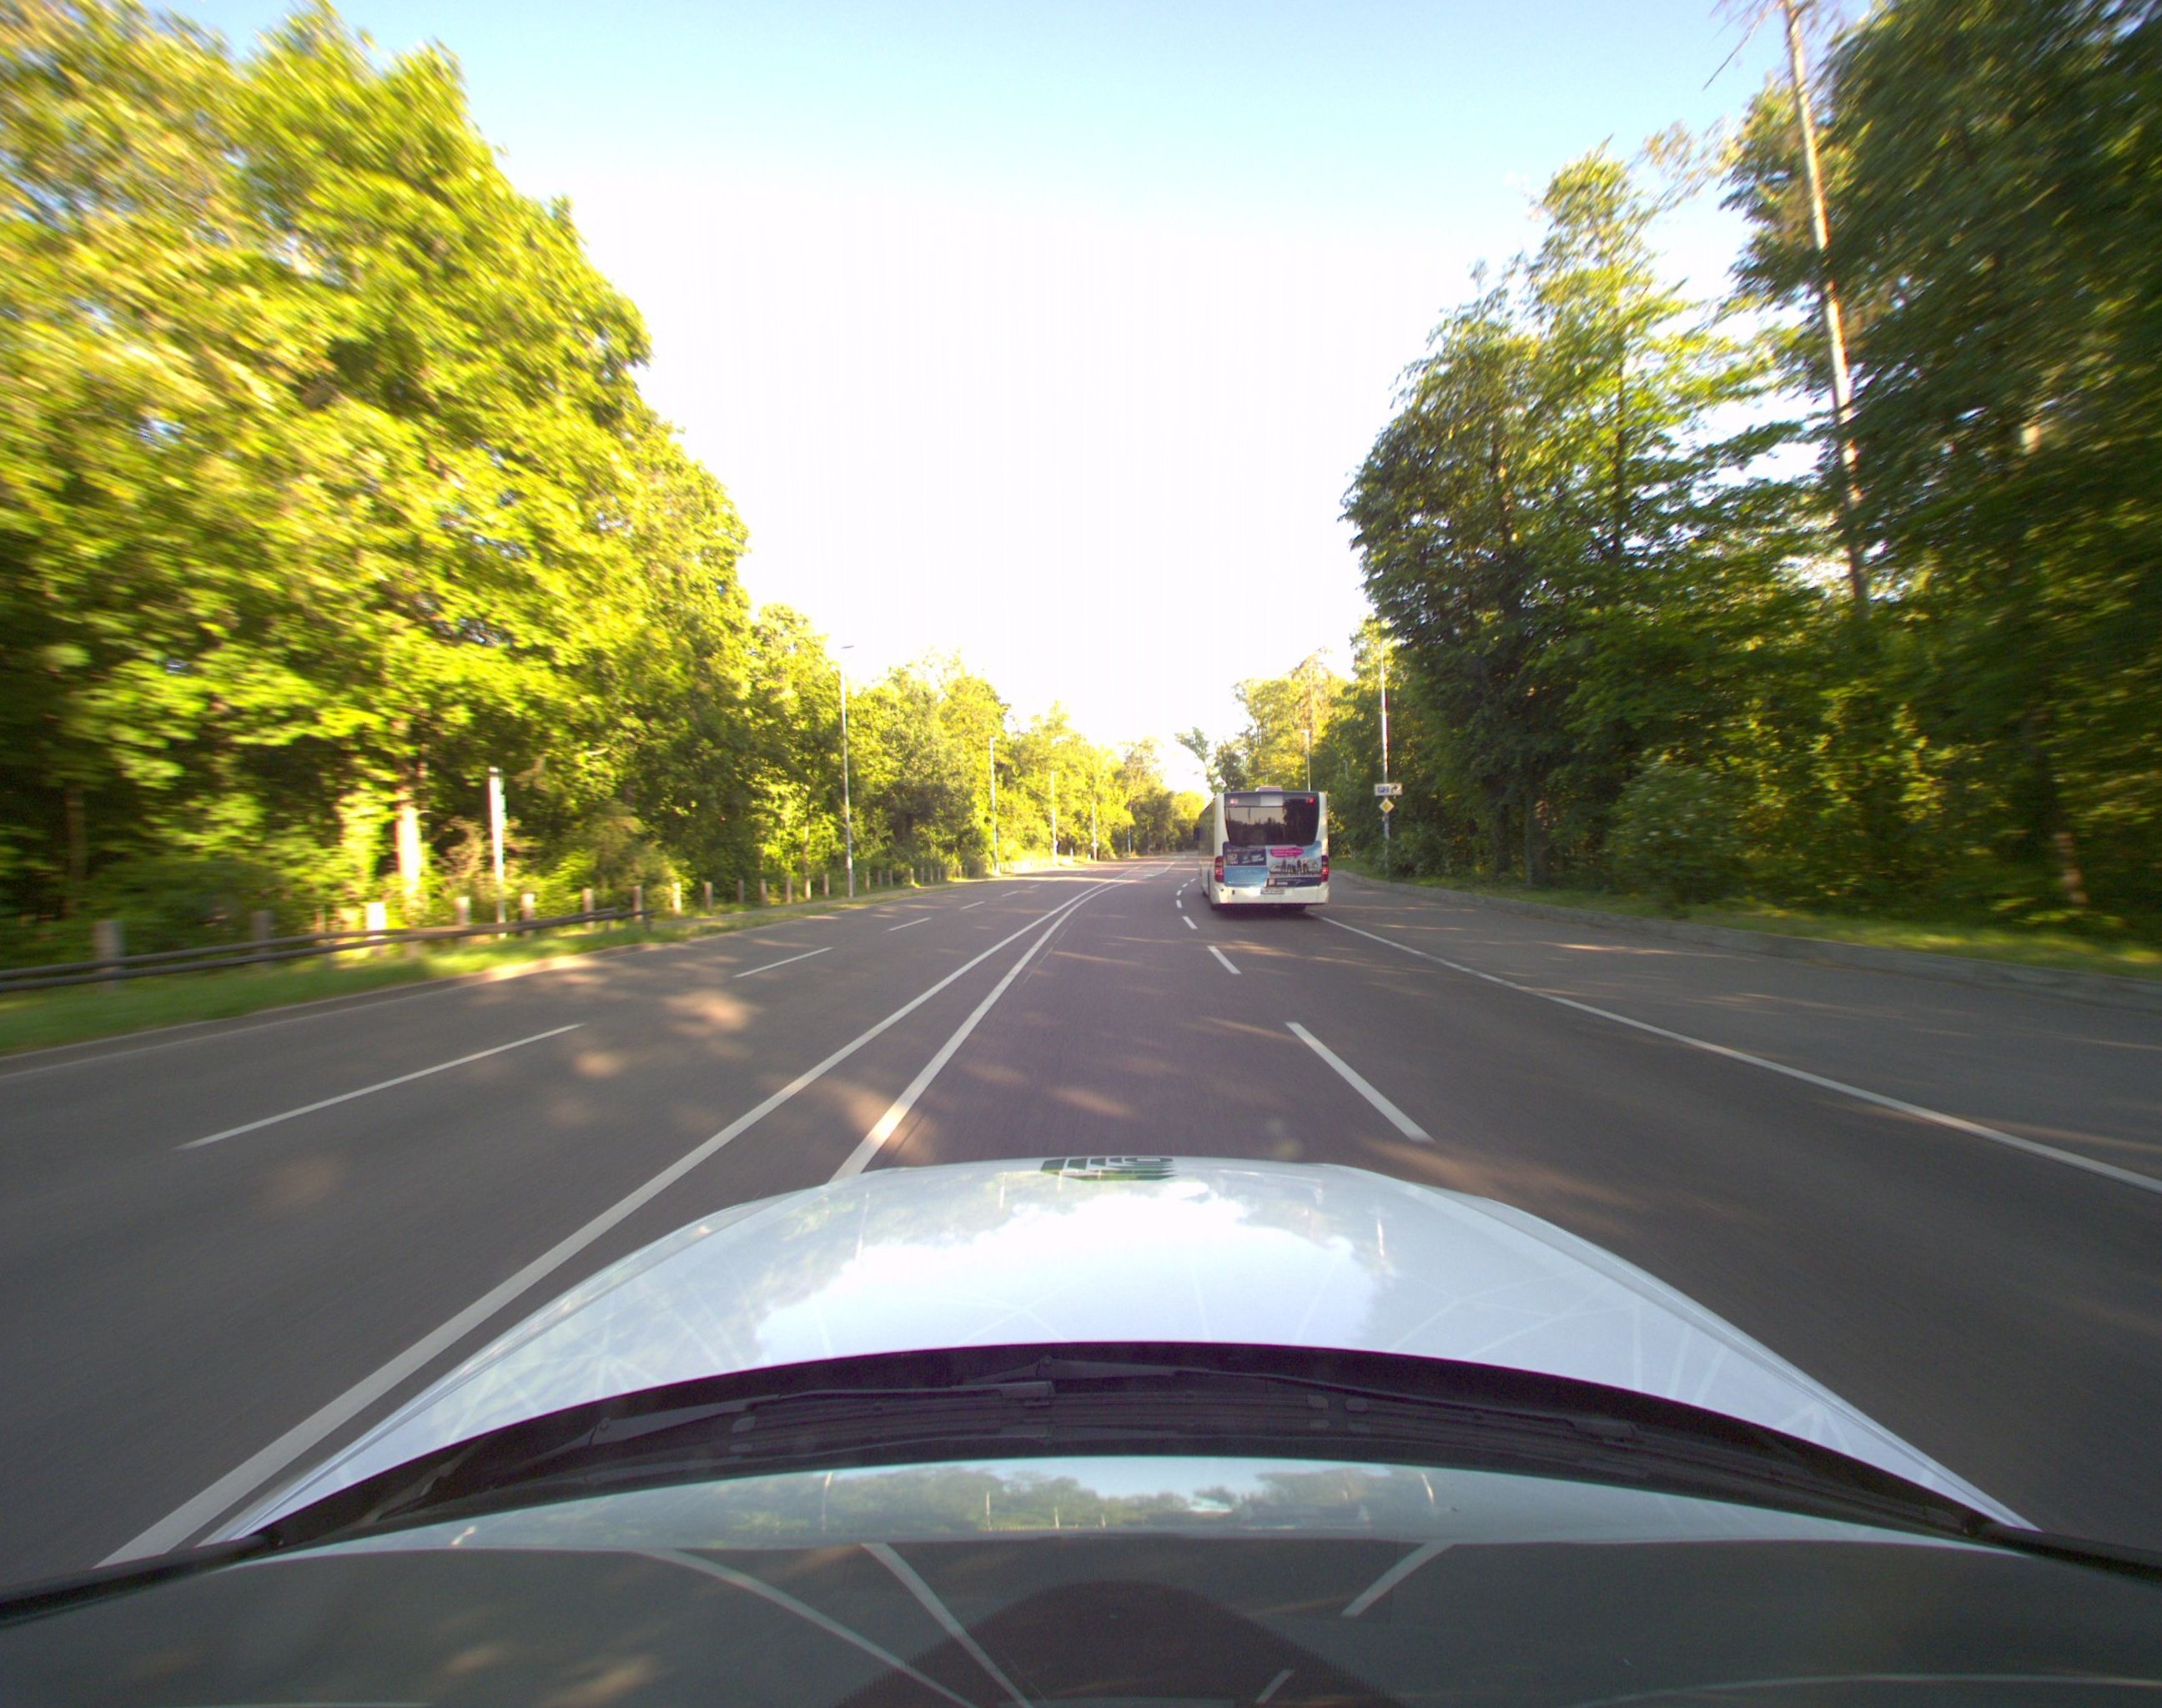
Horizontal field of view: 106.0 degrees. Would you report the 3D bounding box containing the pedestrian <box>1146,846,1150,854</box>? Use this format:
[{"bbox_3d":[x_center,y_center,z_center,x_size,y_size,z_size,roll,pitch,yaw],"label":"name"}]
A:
[{"bbox_3d":[15.004,-0.864,181.975,0.775,1.812,0.772,-1,0,8],"label":"pedestrian"}]

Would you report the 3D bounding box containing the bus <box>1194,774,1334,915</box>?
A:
[{"bbox_3d":[4.812,-0.211,23.771,2.676,3.042,12.063,-1,0,6],"label":"bus"}]
